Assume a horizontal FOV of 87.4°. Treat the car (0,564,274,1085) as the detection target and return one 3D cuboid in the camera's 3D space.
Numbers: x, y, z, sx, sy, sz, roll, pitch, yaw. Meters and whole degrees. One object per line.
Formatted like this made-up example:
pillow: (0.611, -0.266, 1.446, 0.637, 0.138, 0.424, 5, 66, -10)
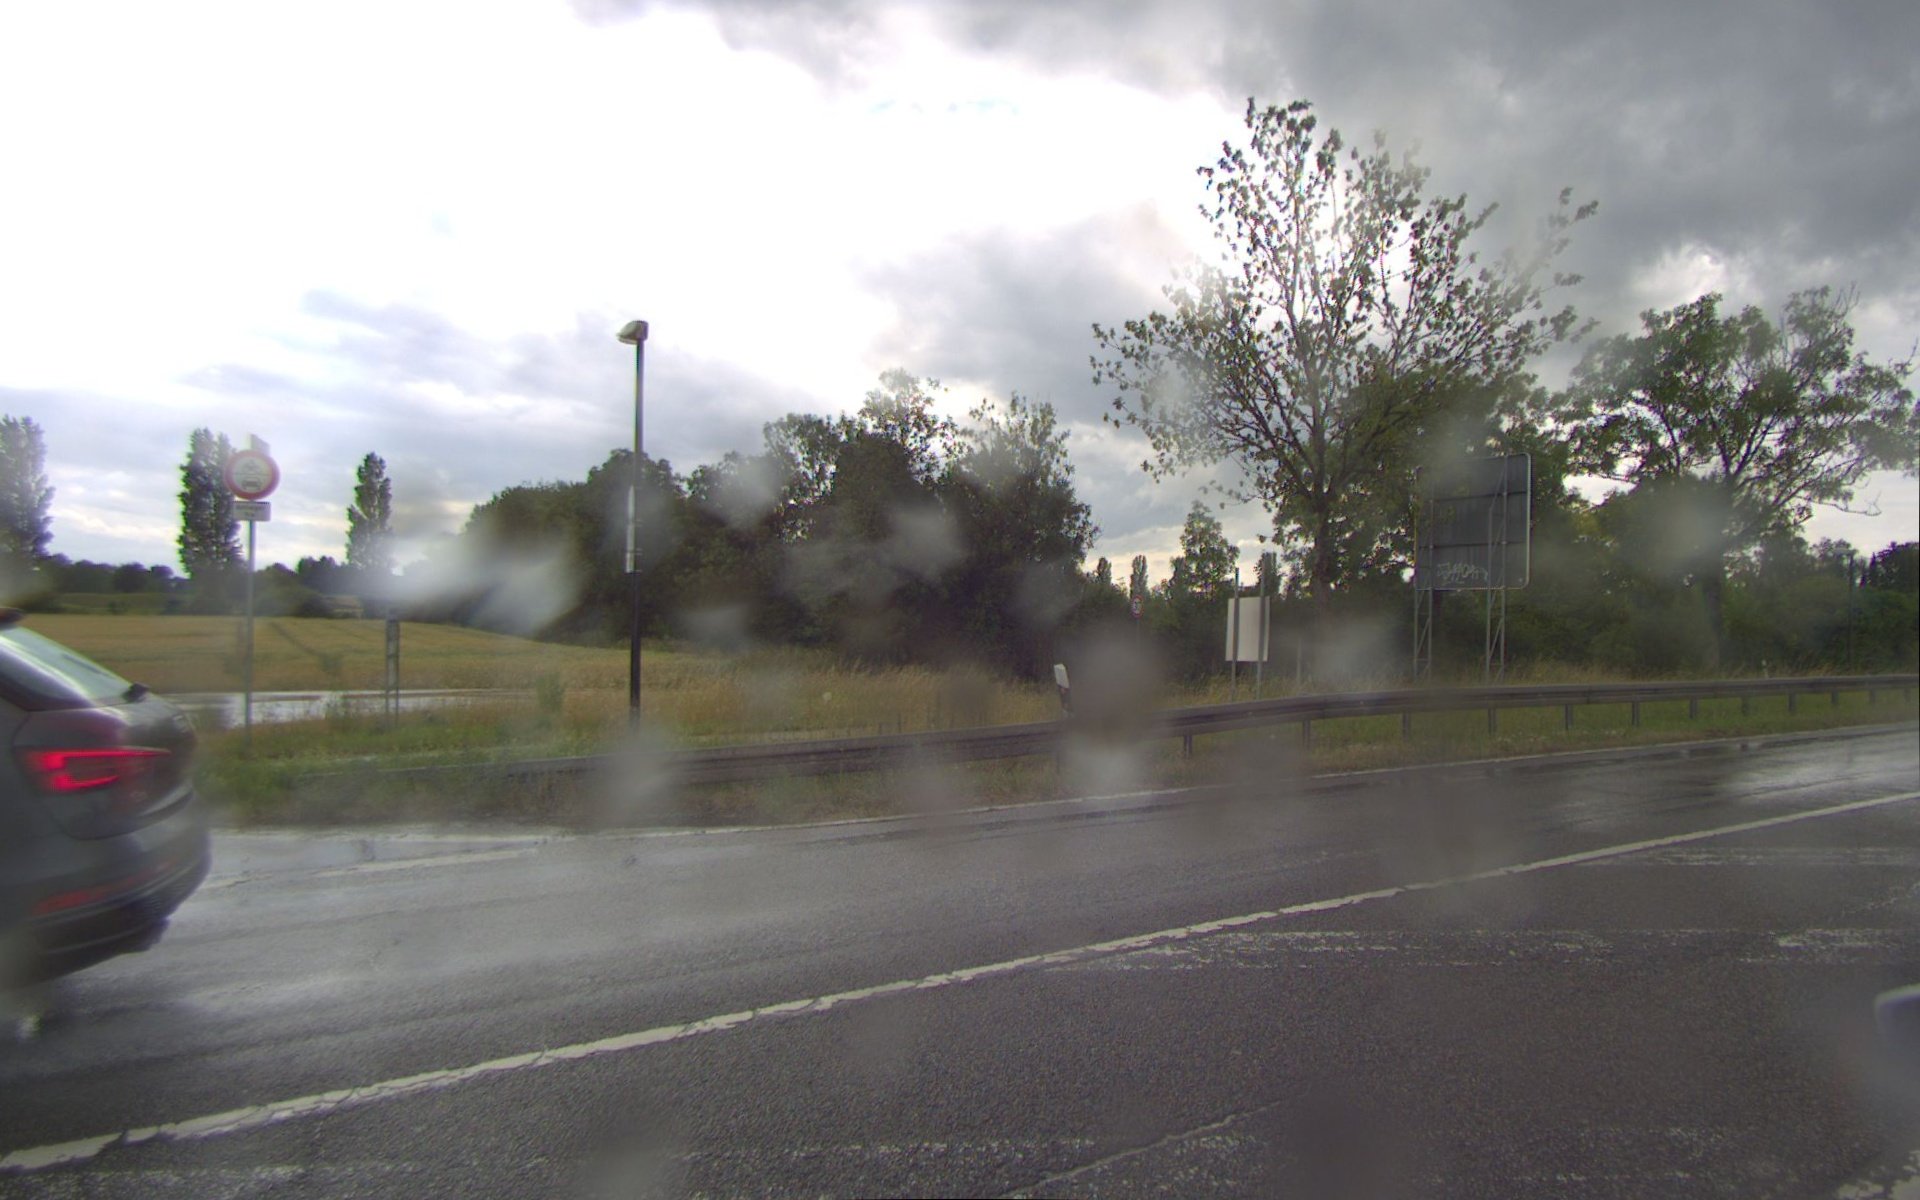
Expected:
car: (-4.613, 0.660, 2.974, 4.093, 1.543, 1.761, 1, -3, -30)
